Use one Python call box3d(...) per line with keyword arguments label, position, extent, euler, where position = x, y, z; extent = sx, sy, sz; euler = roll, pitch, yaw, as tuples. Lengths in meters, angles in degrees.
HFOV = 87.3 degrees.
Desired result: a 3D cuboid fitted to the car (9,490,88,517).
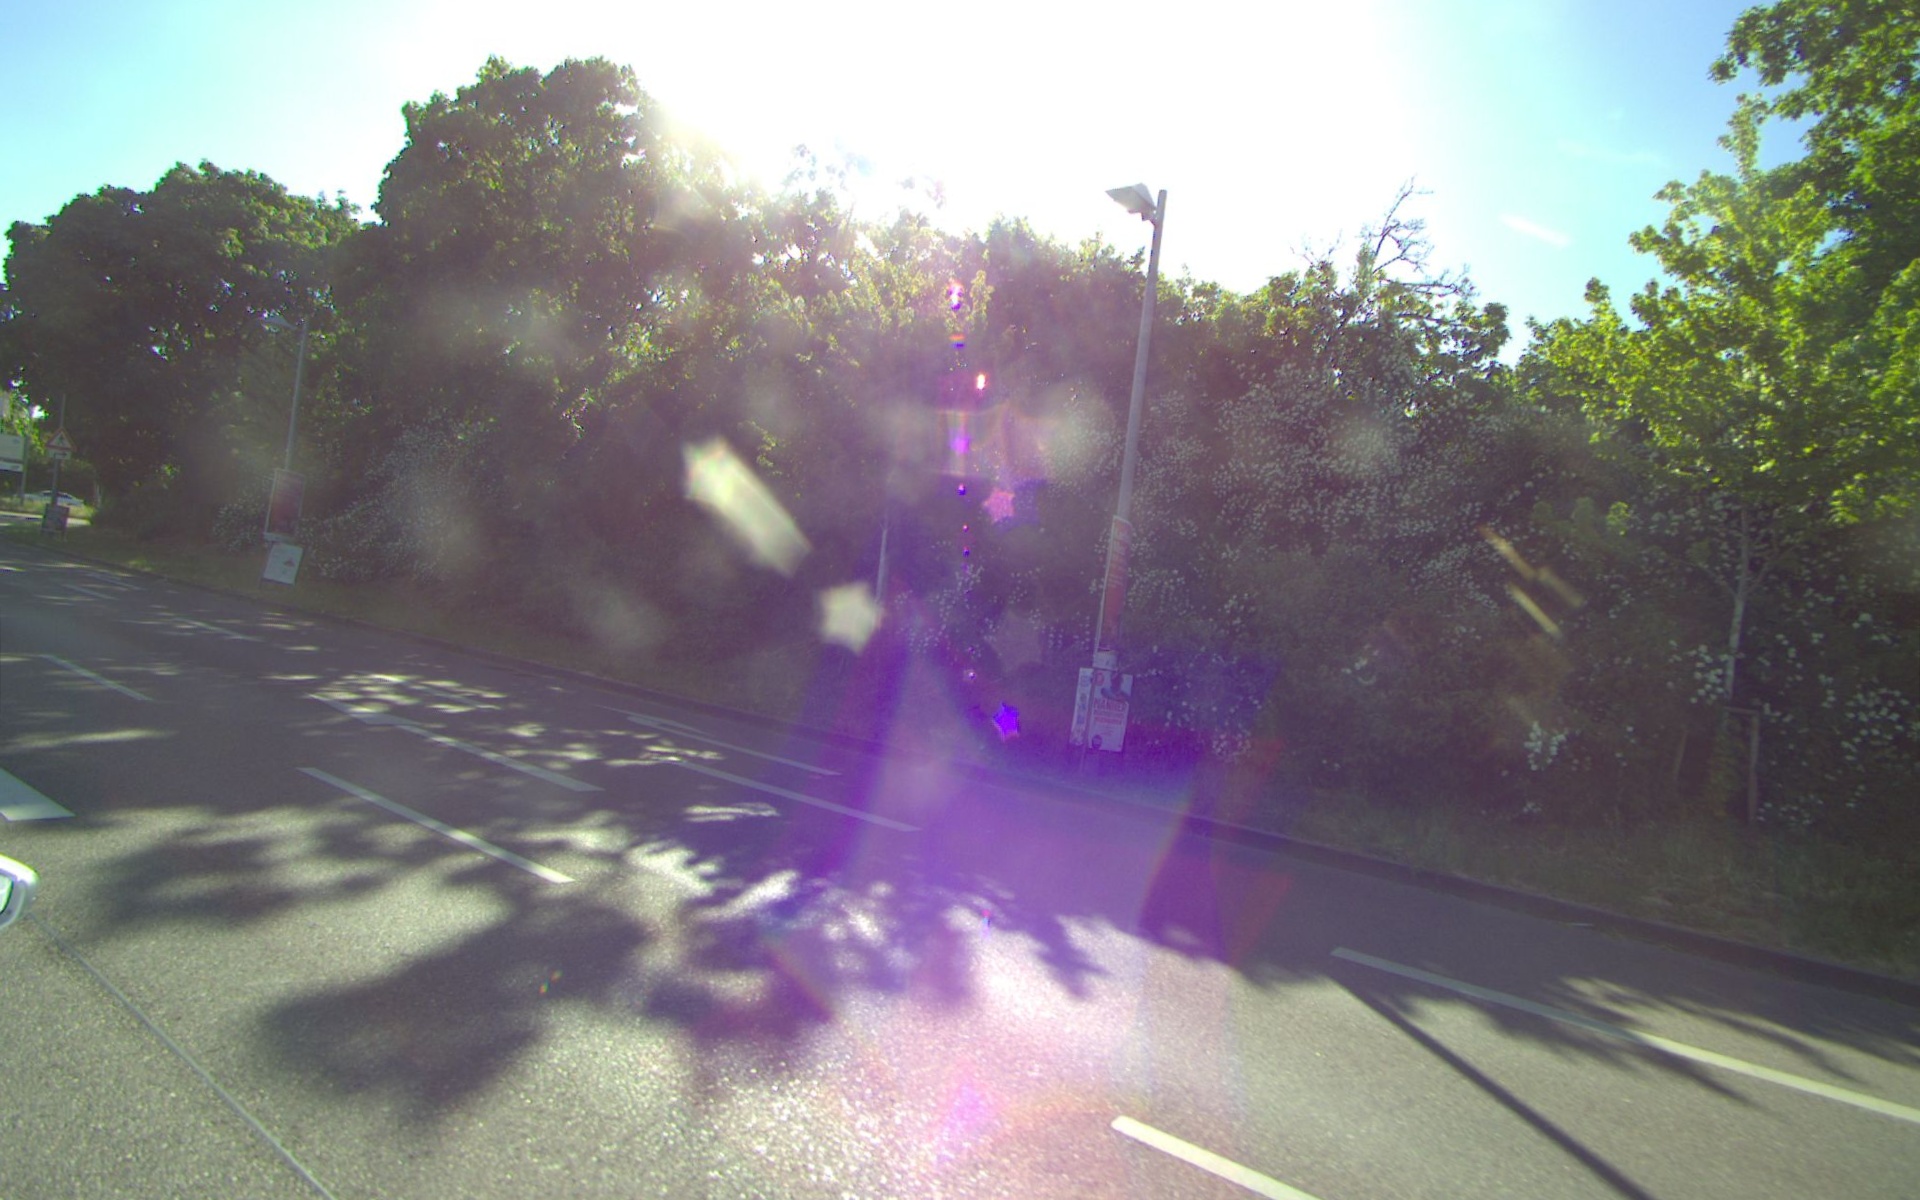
box3d(label="car", position=(-73.372, -7.749, 81.027), extent=(2.031, 1.387, 4.376), euler=(7, -2, 39))
